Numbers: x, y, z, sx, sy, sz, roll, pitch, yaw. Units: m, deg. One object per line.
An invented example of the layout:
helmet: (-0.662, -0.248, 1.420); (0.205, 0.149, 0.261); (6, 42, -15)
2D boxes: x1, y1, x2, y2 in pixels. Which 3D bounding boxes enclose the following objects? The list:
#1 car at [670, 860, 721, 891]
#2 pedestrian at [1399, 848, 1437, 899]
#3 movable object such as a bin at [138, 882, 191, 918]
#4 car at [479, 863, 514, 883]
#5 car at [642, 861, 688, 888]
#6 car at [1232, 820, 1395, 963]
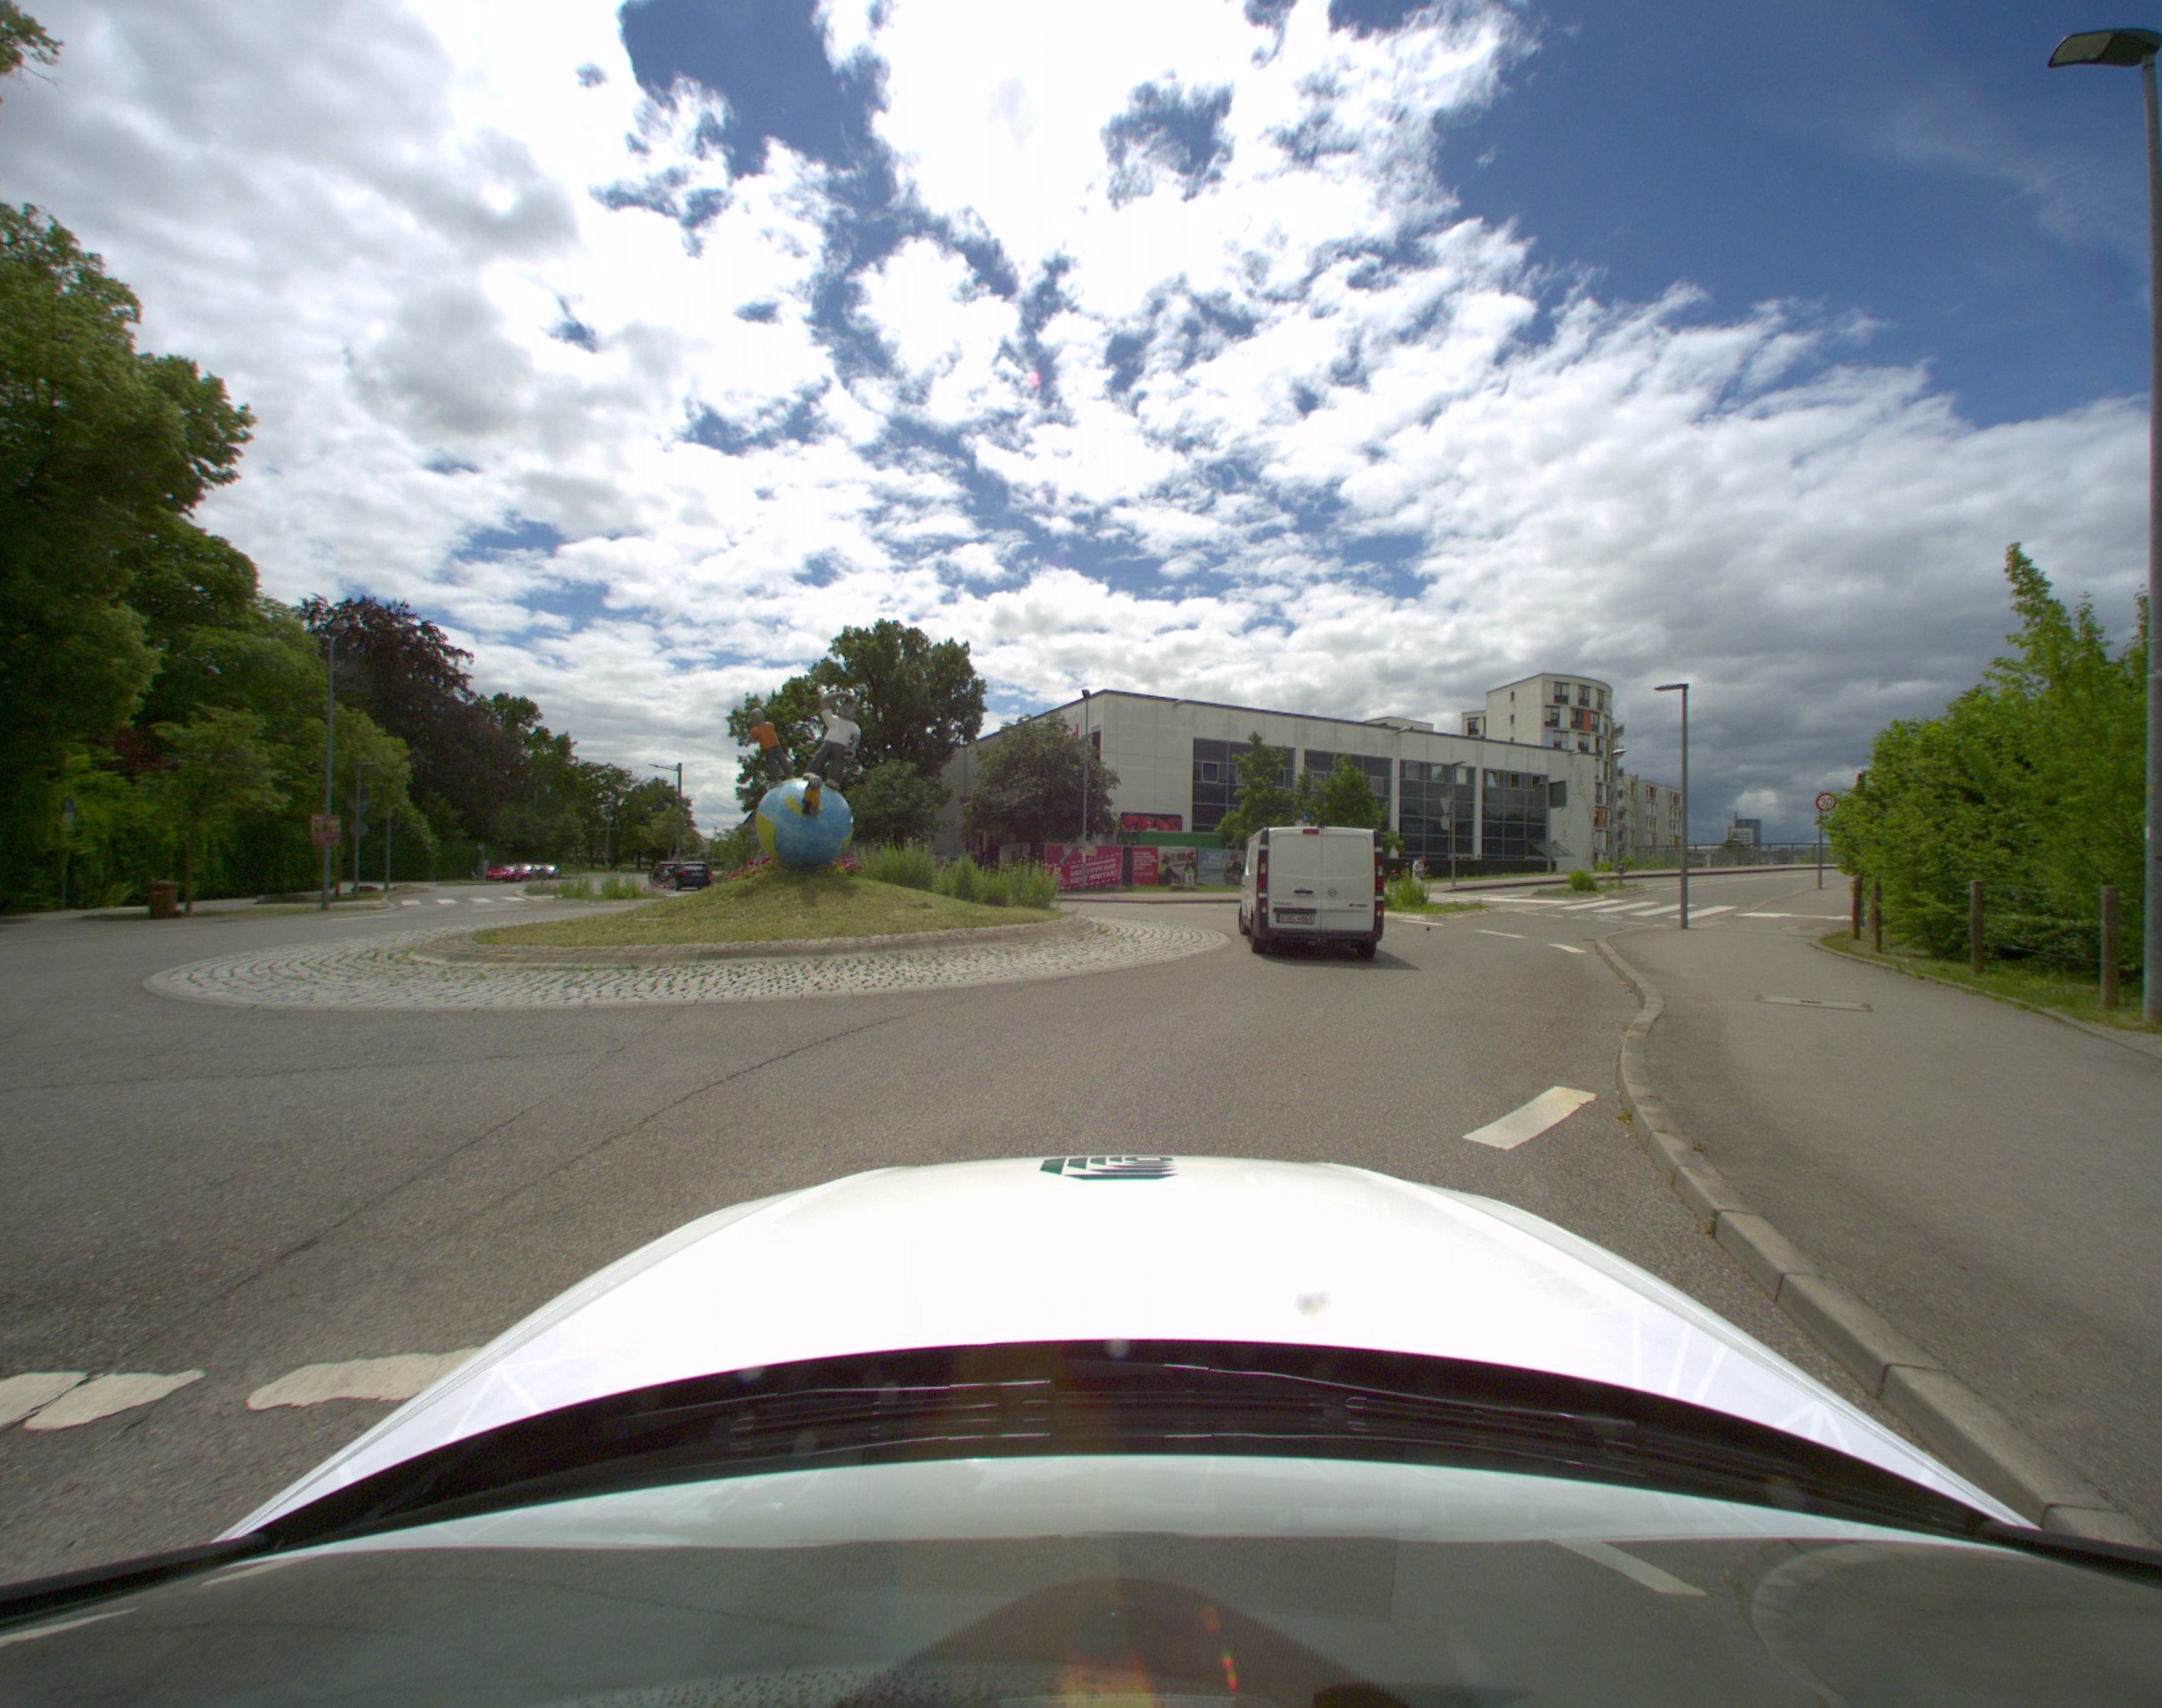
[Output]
car: (-21.072, 1.175, 44.645); (1.937, 1.537, 3.903); (1, 0, -17)
pedestrian: (10.677, 0.617, 25.834); (1.025, 1.541, 0.899); (2, -1, 21)
movable object such as a bin: (-23.053, 1.145, 20.499); (0.631, 0.863, 0.637); (-1, 0, -15)
car: (-44.621, 1.430, 62.230); (2.078, 1.386, 4.004); (1, 0, -35)
car: (-26.100, 1.255, 51.072); (1.934, 1.500, 3.882); (2, 0, -37)
car: (3.770, 0.576, 14.111); (2.023, 1.945, 5.005); (2, -1, 9)
